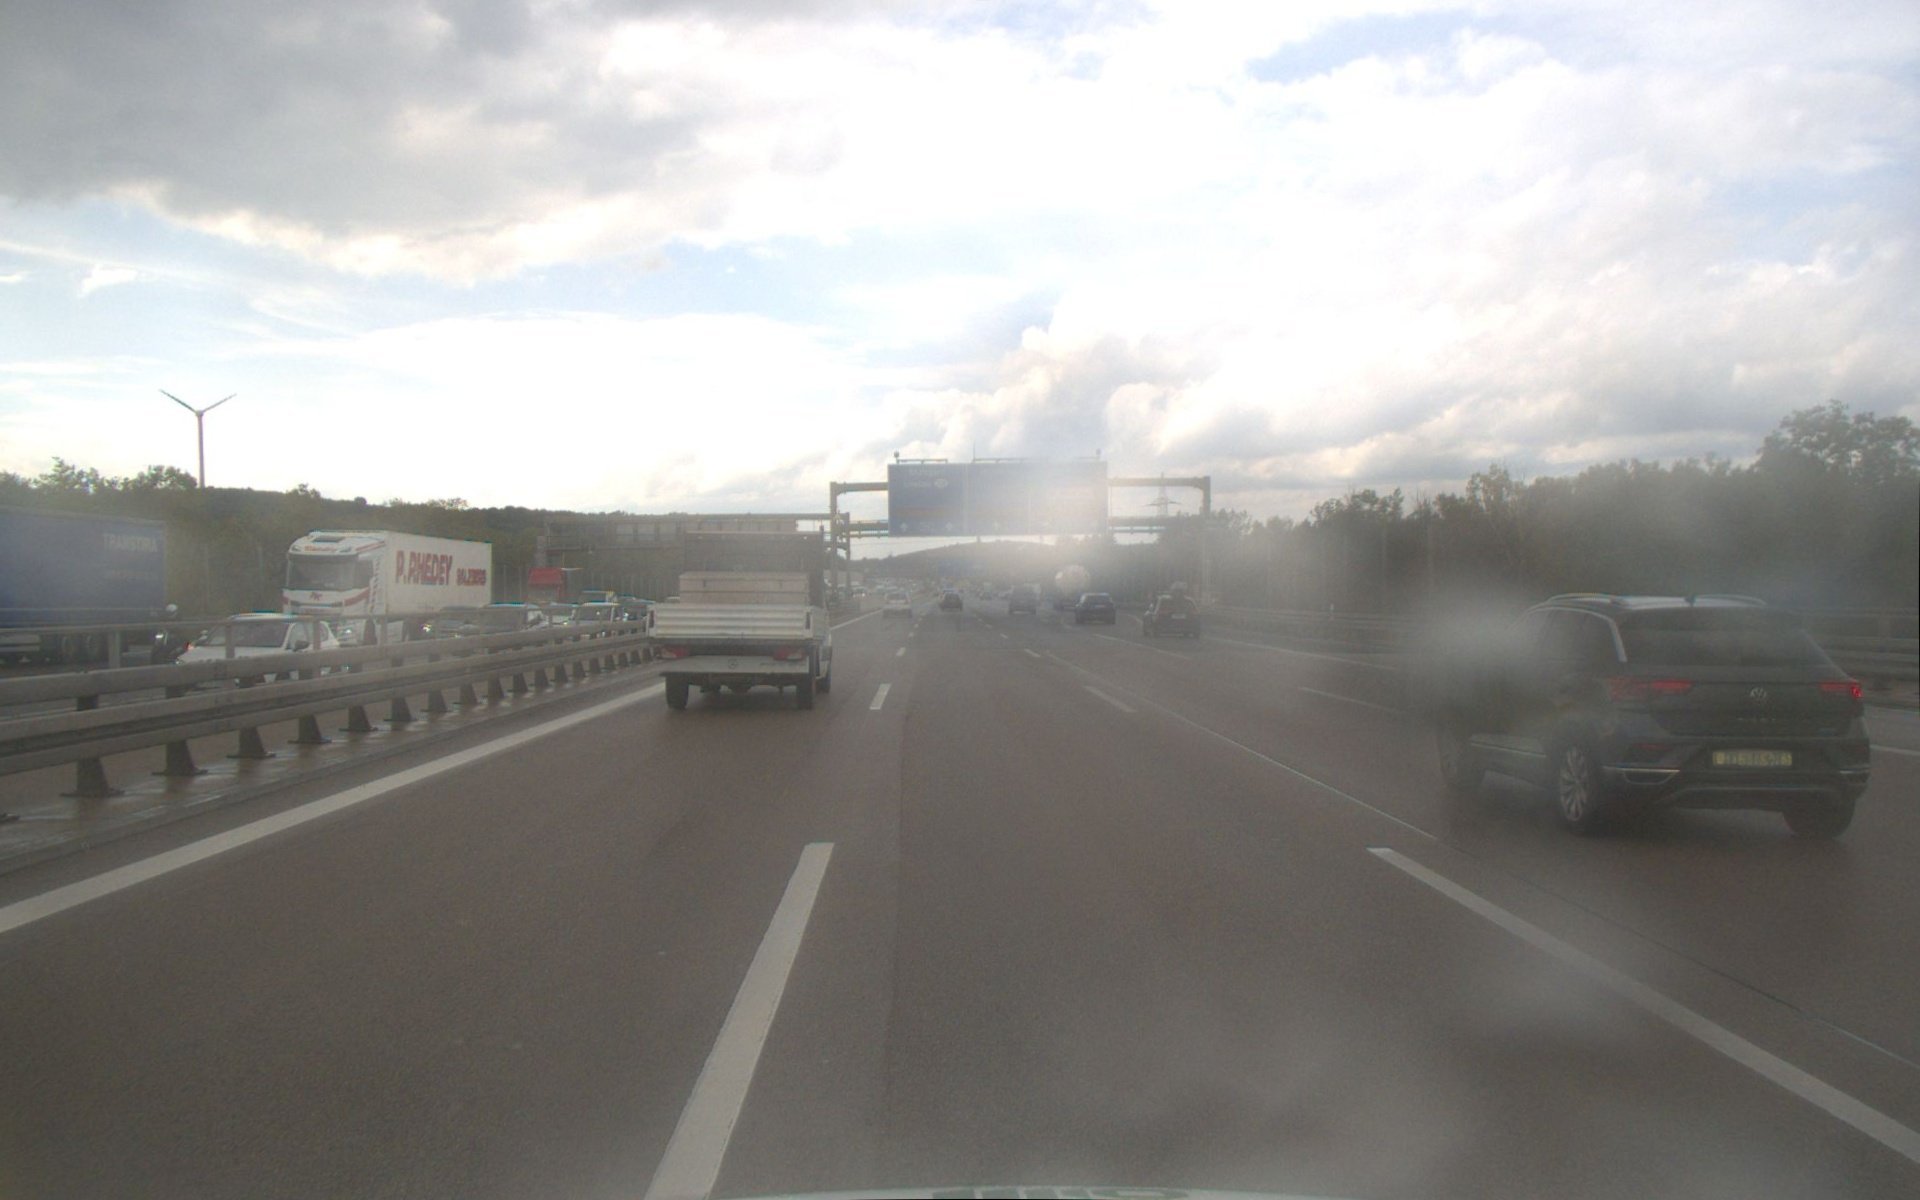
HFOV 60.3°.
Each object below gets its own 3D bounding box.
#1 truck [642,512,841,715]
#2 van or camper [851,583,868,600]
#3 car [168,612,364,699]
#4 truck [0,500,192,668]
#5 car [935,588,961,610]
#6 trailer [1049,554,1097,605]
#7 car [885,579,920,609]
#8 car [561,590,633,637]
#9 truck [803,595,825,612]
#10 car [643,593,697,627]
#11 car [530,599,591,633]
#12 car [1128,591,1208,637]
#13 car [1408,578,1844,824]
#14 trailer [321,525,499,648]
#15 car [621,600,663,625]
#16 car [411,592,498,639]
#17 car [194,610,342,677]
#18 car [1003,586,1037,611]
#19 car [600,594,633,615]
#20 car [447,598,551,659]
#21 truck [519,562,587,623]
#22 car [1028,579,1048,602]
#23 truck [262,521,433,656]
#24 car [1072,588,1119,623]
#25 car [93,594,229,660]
[{"bbox_3d":[-2.930,0.122,23.872,2.306,2.450,7.353,1,1,-4],"label":"truck"},{"bbox_3d":[-13.563,-1.107,223.174,2.052,2.224,4.971,0,1,-1],"label":"van or camper"},{"bbox_3d":[-12.617,0.960,30.390,1.685,1.377,4.625,-1,1,-1],"label":"car"},{"bbox_3d":[-24.747,-0.400,42.061,2.594,4.091,17.743,0,1,-2],"label":"truck"},{"bbox_3d":[-0.974,-0.133,134.122,2.003,1.729,4.000,0,1,0],"label":"car"},{"bbox_3d":[9.826,-1.751,145.180,3.265,4.248,11.837,1,0,0],"label":"trailer"},{"bbox_3d":[-3.408,-0.373,99.147,2.003,1.729,4.000,0,1,-1],"label":"car"},{"bbox_3d":[-13.077,0.463,59.810,1.756,1.647,4.000,0,0,0],"label":"car"},{"bbox_3d":[-15.605,0.400,177.093,1.953,1.770,4.670,0,0,0],"label":"truck"},{"bbox_3d":[-13.092,0.445,74.905,1.612,1.465,4.729,0,0,0],"label":"car"},{"bbox_3d":[-17.754,0.700,73.644,1.612,1.432,4.543,0,0,0],"label":"car"},{"bbox_3d":[7.753,0.495,62.111,2.063,1.633,5.062,0,1,-4],"label":"car"},{"bbox_3d":[4.855,0.652,12.658,1.756,1.589,3.720,0,0,-2],"label":"car"},{"bbox_3d":[-20.980,-0.568,64.053,3.122,4.267,11.954,0,1,-1],"label":"trailer"},{"bbox_3d":[-18.055,0.695,94.006,1.668,1.311,4.186,0,1,-1],"label":"car"},{"bbox_3d":[-17.469,0.506,57.327,1.612,1.529,4.676,0,0,-1],"label":"car"},{"bbox_3d":[-16.882,1.015,40.586,1.612,1.537,4.859,0,0,0],"label":"car"},{"bbox_3d":[4.231,-0.143,117.140,2.056,1.729,3.997,0,1,-4],"label":"car"},{"bbox_3d":[-26.184,0.325,126.263,1.726,1.451,4.341,0,1,-1],"label":"car"},{"bbox_3d":[-12.999,0.769,46.877,1.756,1.647,4.283,0,0,0],"label":"car"},{"bbox_3d":[-24.892,-0.523,101.493,2.414,3.598,7.806,0,1,-1],"label":"truck"},{"bbox_3d":[8.595,-1.048,183.289,2.003,2.541,4.000,0,1,-1],"label":"car"},{"bbox_3d":[-20.824,-0.431,56.786,3.113,4.267,7.736,0,1,-1],"label":"truck"},{"bbox_3d":[7.078,0.272,86.853,2.003,1.729,5.006,0,1,-1],"label":"car"},{"bbox_3d":[-20.793,0.674,43.205,1.612,1.572,4.000,0,1,0],"label":"car"}]
